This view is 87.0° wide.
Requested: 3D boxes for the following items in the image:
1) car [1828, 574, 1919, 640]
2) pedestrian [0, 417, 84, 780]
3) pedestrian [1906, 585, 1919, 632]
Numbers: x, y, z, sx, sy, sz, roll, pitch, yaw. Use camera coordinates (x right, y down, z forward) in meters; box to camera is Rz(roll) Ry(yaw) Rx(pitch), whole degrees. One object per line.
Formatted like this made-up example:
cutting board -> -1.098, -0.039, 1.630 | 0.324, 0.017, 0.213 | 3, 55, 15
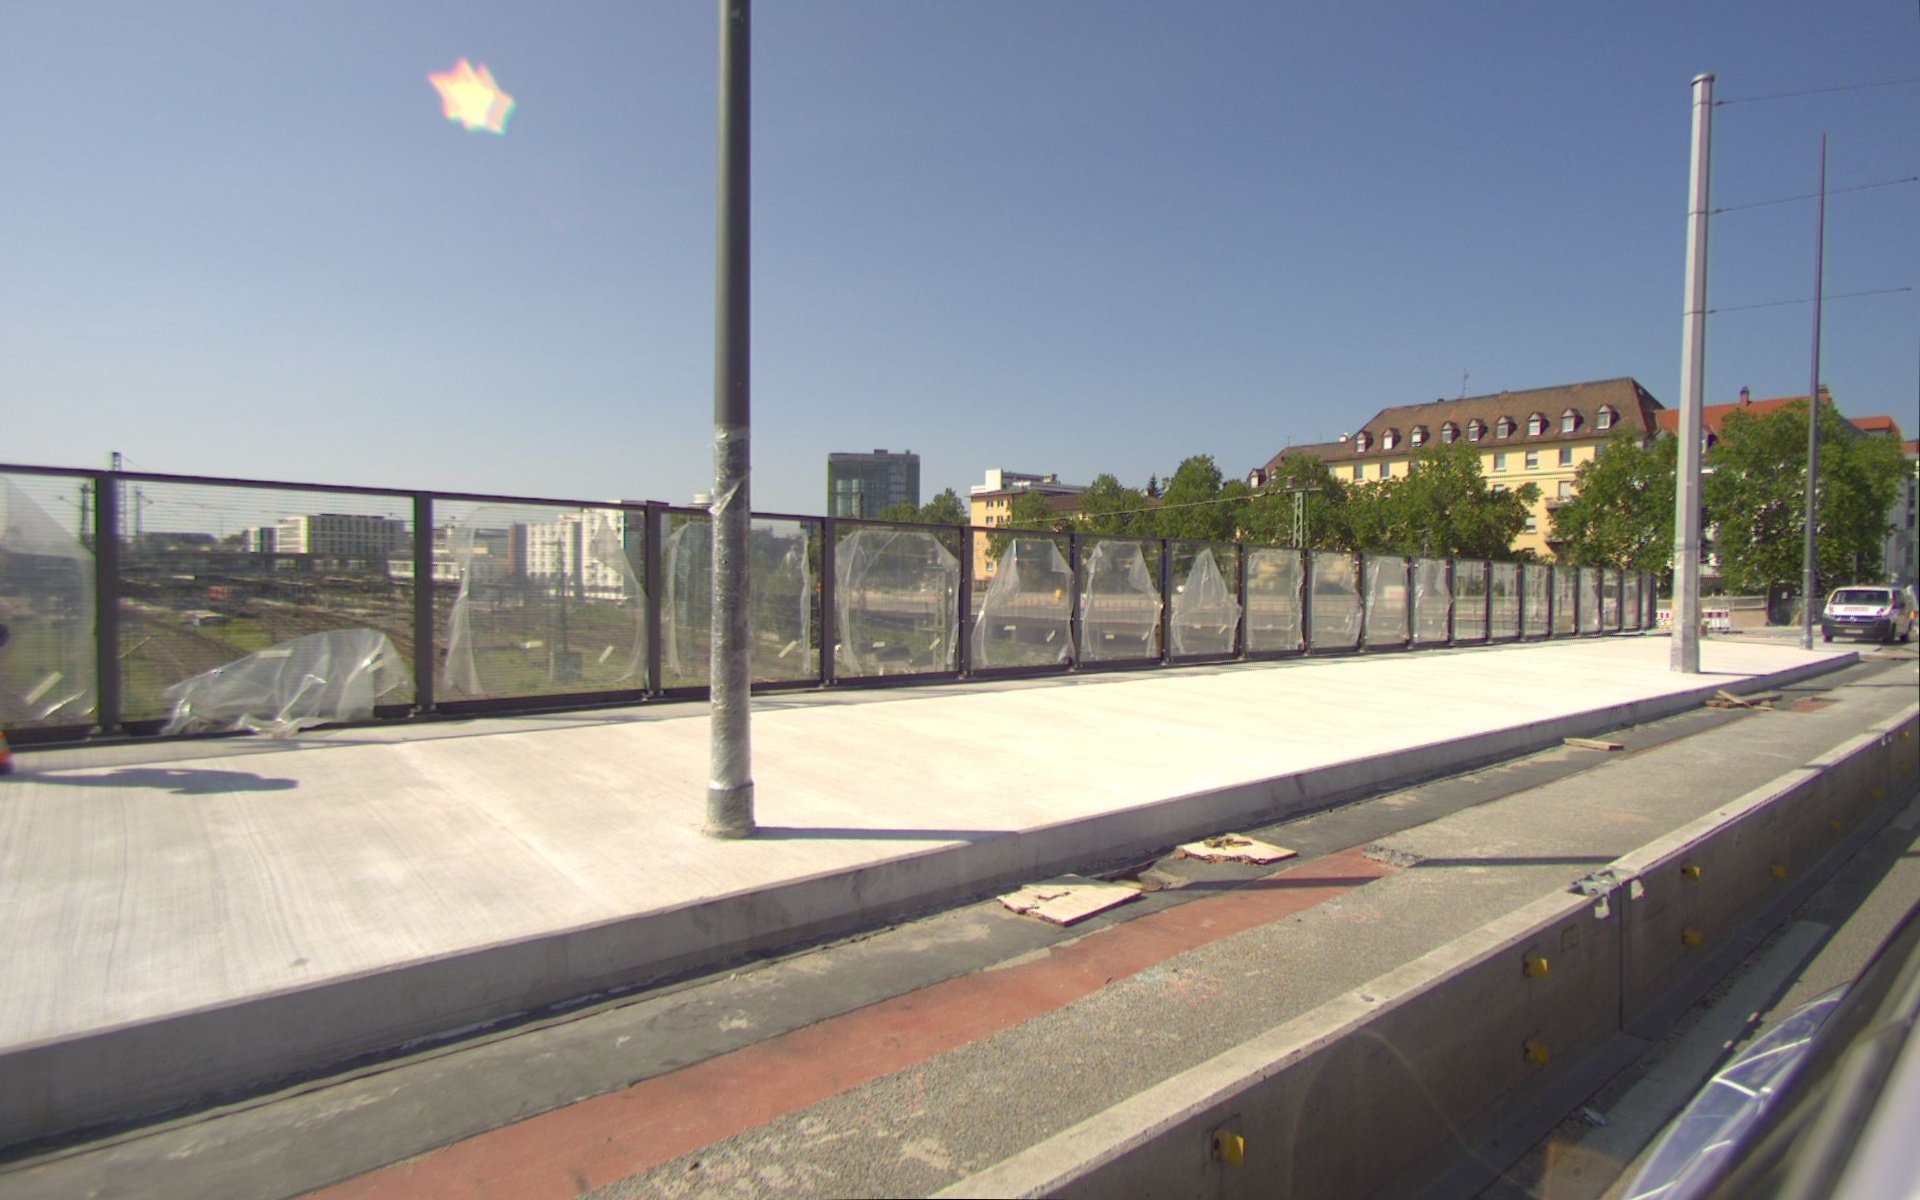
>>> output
car -> 32.674, 0.234, 35.745 | 6.353, 2.116, 1.938 | 1, 1, -39
pedestrian -> -5.606, -0.021, 5.697 | 0.998, 1.988, 0.733 | 0, 3, -40
pedestrian -> 41.646, 0.381, 43.893 | 0.828, 2.009, 0.761 | -1, 3, -41
